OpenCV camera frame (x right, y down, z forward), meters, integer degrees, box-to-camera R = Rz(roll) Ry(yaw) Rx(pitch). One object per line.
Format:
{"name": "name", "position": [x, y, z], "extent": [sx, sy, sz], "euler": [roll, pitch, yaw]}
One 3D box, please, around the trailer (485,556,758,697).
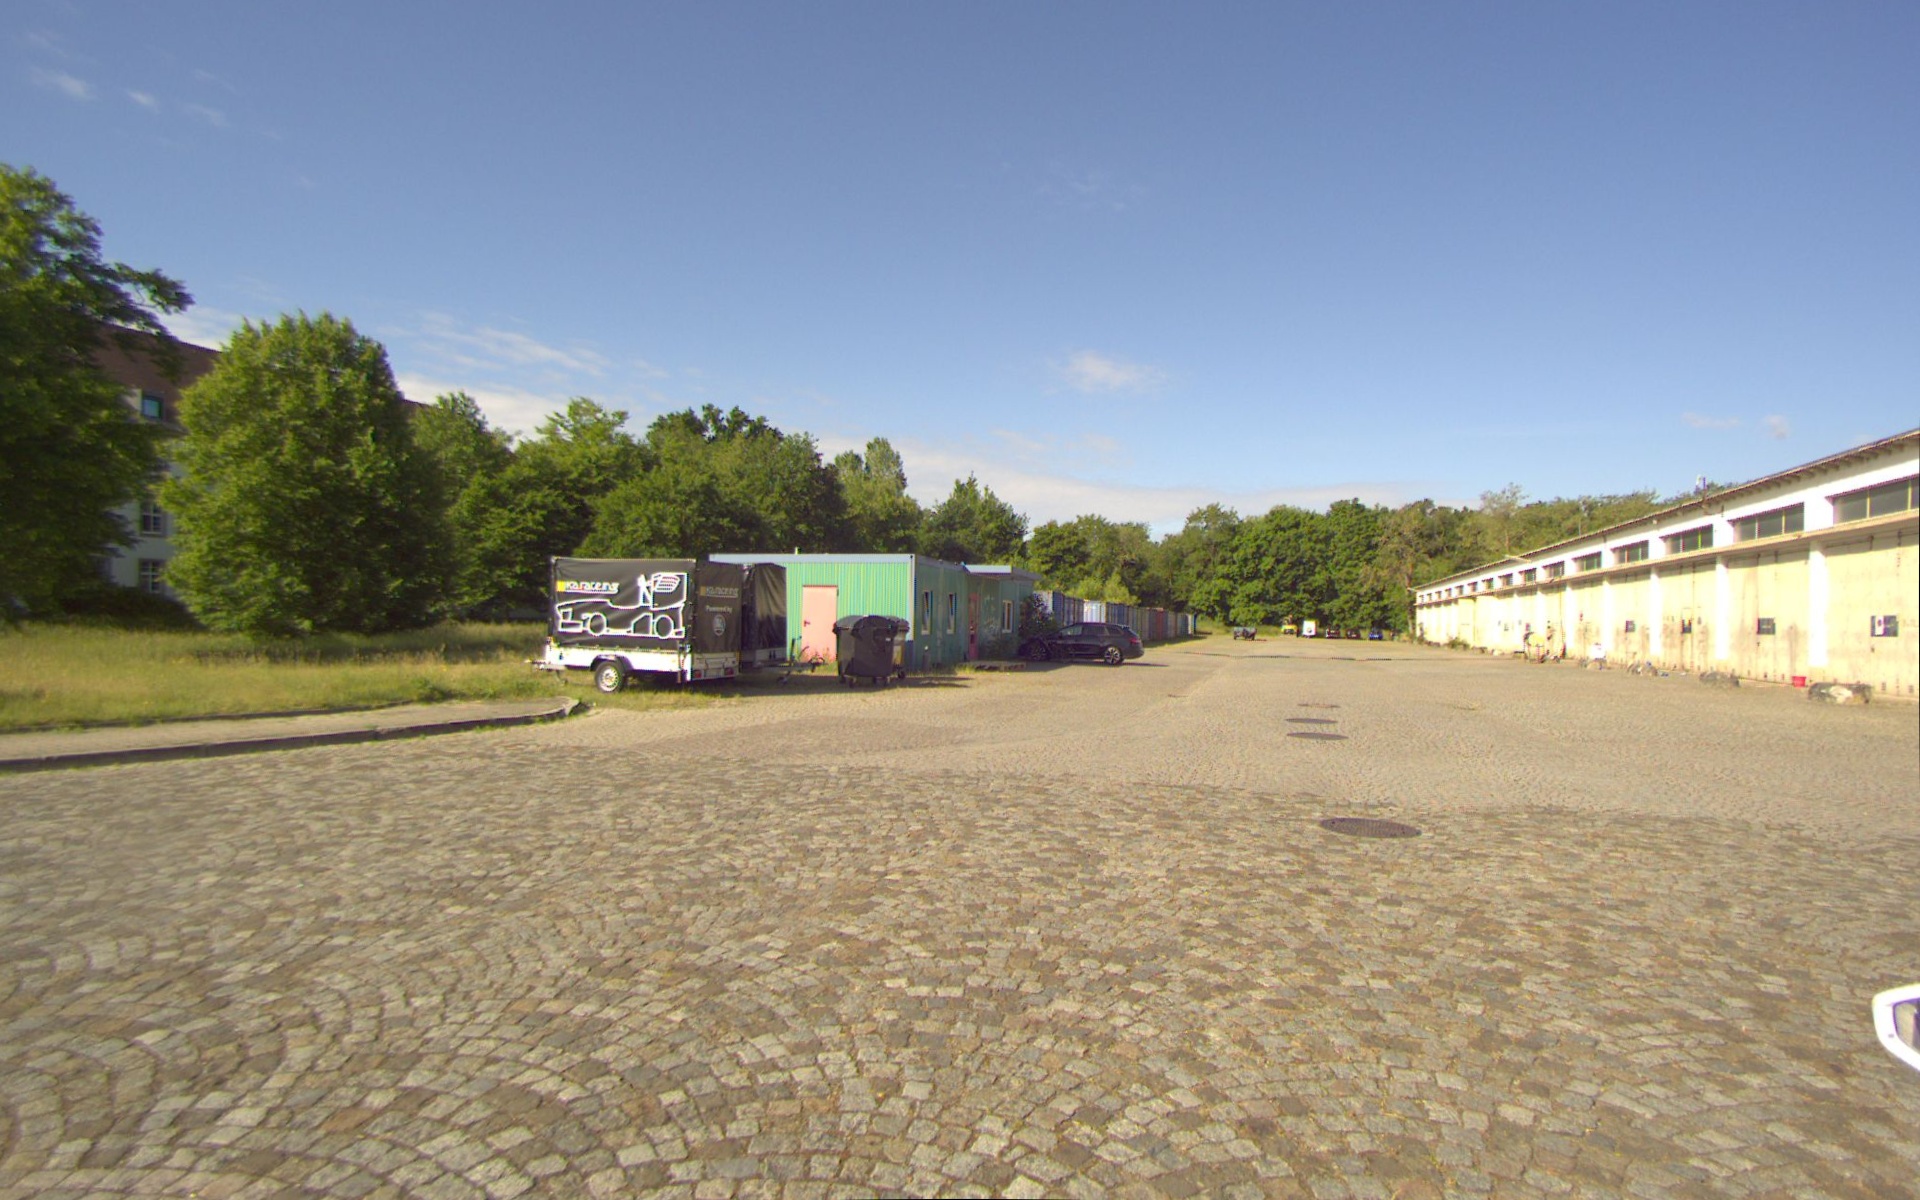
{"name": "trailer", "position": [-6.202, 0.444, 18.530], "extent": [4.379, 2.303, 2.014], "euler": [2, -1, 18]}

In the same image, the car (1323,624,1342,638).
{"name": "car", "position": [46.356, 3.867, 124.915], "extent": [1.832, 1.606, 3.997], "euler": [0, -1, 25]}

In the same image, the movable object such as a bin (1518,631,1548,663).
{"name": "movable object such as a bin", "position": [25.097, 2.048, 44.030], "extent": [0.809, 1.349, 1.281], "euler": [1, -1, 14]}

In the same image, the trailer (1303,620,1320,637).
{"name": "trailer", "position": [44.540, 3.617, 127.320], "extent": [1.765, 2.117, 3.970], "euler": [1, -1, 22]}

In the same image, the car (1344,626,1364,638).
{"name": "car", "position": [48.759, 3.943, 124.285], "extent": [1.962, 1.482, 3.997], "euler": [0, -1, 25]}

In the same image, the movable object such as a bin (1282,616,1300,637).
{"name": "movable object such as a bin", "position": [42.313, 3.374, 128.371], "extent": [1.961, 2.652, 3.999], "euler": [-1, -2, 22]}

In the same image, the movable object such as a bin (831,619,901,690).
{"name": "movable object such as a bin", "position": [-1.958, 1.109, 20.779], "extent": [1.033, 1.404, 1.356], "euler": [1, -1, -24]}

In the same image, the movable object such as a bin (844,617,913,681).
{"name": "movable object such as a bin", "position": [-1.848, 1.102, 22.951], "extent": [1.063, 1.404, 1.369], "euler": [1, -1, 22]}

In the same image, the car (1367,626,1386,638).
{"name": "car", "position": [51.211, 3.918, 123.452], "extent": [1.962, 1.439, 3.997], "euler": [0, -1, 25]}

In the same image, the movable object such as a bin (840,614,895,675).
{"name": "movable object such as a bin", "position": [-2.297, 1.097, 25.081], "extent": [1.066, 1.456, 1.410], "euler": [1, -1, 6]}

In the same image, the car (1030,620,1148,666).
{"name": "car", "position": [4.618, 1.505, 35.746], "extent": [3.980, 1.431, 1.733], "euler": [2, -1, 13]}

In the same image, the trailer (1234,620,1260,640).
{"name": "trailer", "position": [31.843, 3.276, 111.424], "extent": [2.367, 2.040, 4.173], "euler": [3, 0, 20]}

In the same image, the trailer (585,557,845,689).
{"name": "trailer", "position": [-4.988, 0.442, 20.684], "extent": [4.757, 2.422, 1.944], "euler": [2, -1, 13]}

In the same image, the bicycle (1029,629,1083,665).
{"name": "bicycle", "position": [3.291, 1.602, 34.430], "extent": [1.679, 1.116, 0.674], "euler": [3, 0, 18]}
